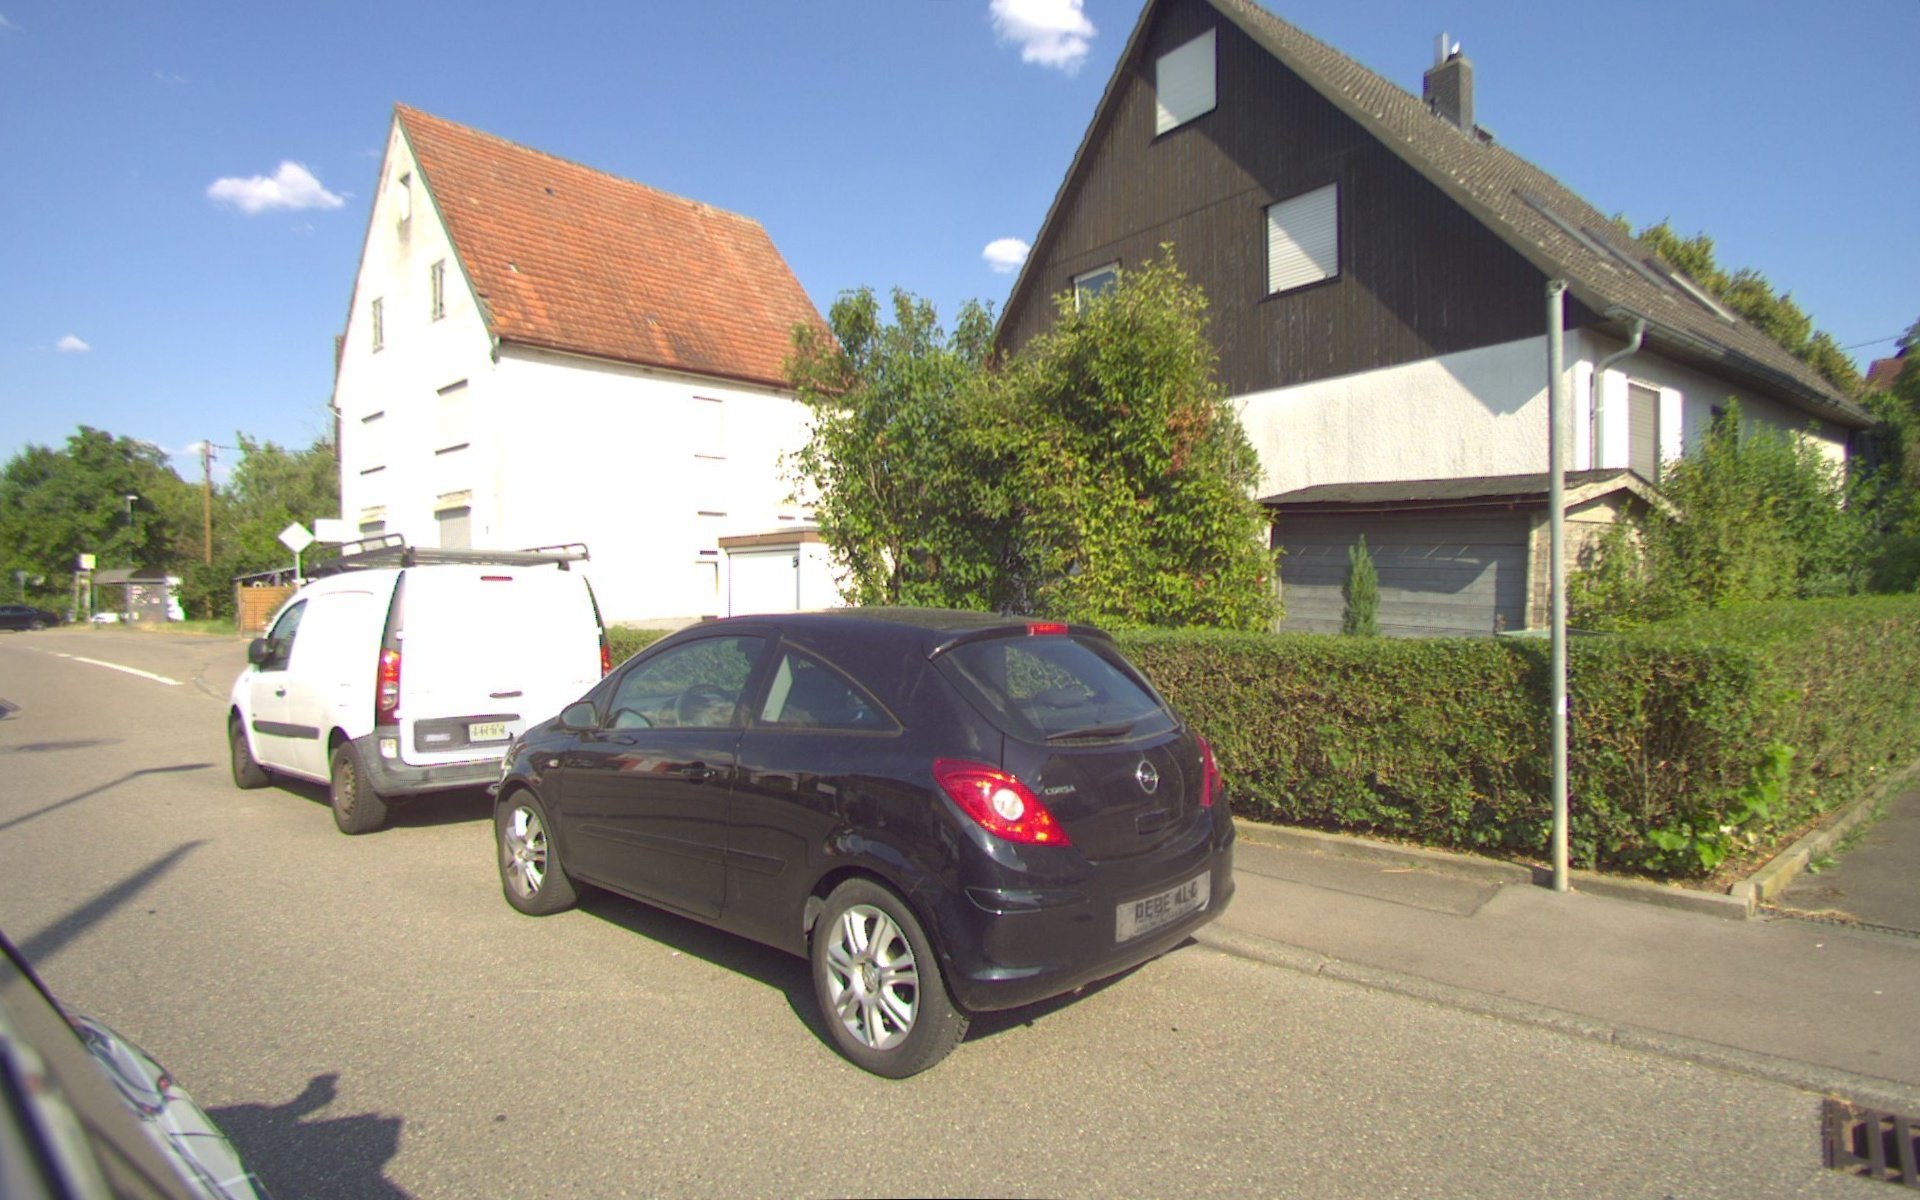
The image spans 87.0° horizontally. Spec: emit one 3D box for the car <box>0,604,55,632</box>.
[{"bbox_3d":[-50.193,0.938,52.382,1.757,1.442,4.814,0,0,19],"label":"car"}]

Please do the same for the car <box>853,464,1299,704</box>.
[{"bbox_3d":[1.286,-0.177,13.971,2.133,2.615,6.098,-3,1,-44],"label":"car"}]

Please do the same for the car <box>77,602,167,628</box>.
[{"bbox_3d":[-50.801,0.887,61.448,1.837,1.503,4.272,0,0,2],"label":"car"}]

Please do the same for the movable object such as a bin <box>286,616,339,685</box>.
[{"bbox_3d":[-11.046,0.843,17.259,0.575,1.109,0.604,1,2,41],"label":"movable object such as a bin"}]

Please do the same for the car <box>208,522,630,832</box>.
[{"bbox_3d":[-4.543,0.493,8.198,4.191,1.887,1.698,-1,-1,42],"label":"car"}]

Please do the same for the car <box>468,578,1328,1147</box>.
[{"bbox_3d":[-0.573,0.691,4.526,3.834,1.462,1.654,-1,0,43],"label":"car"}]
